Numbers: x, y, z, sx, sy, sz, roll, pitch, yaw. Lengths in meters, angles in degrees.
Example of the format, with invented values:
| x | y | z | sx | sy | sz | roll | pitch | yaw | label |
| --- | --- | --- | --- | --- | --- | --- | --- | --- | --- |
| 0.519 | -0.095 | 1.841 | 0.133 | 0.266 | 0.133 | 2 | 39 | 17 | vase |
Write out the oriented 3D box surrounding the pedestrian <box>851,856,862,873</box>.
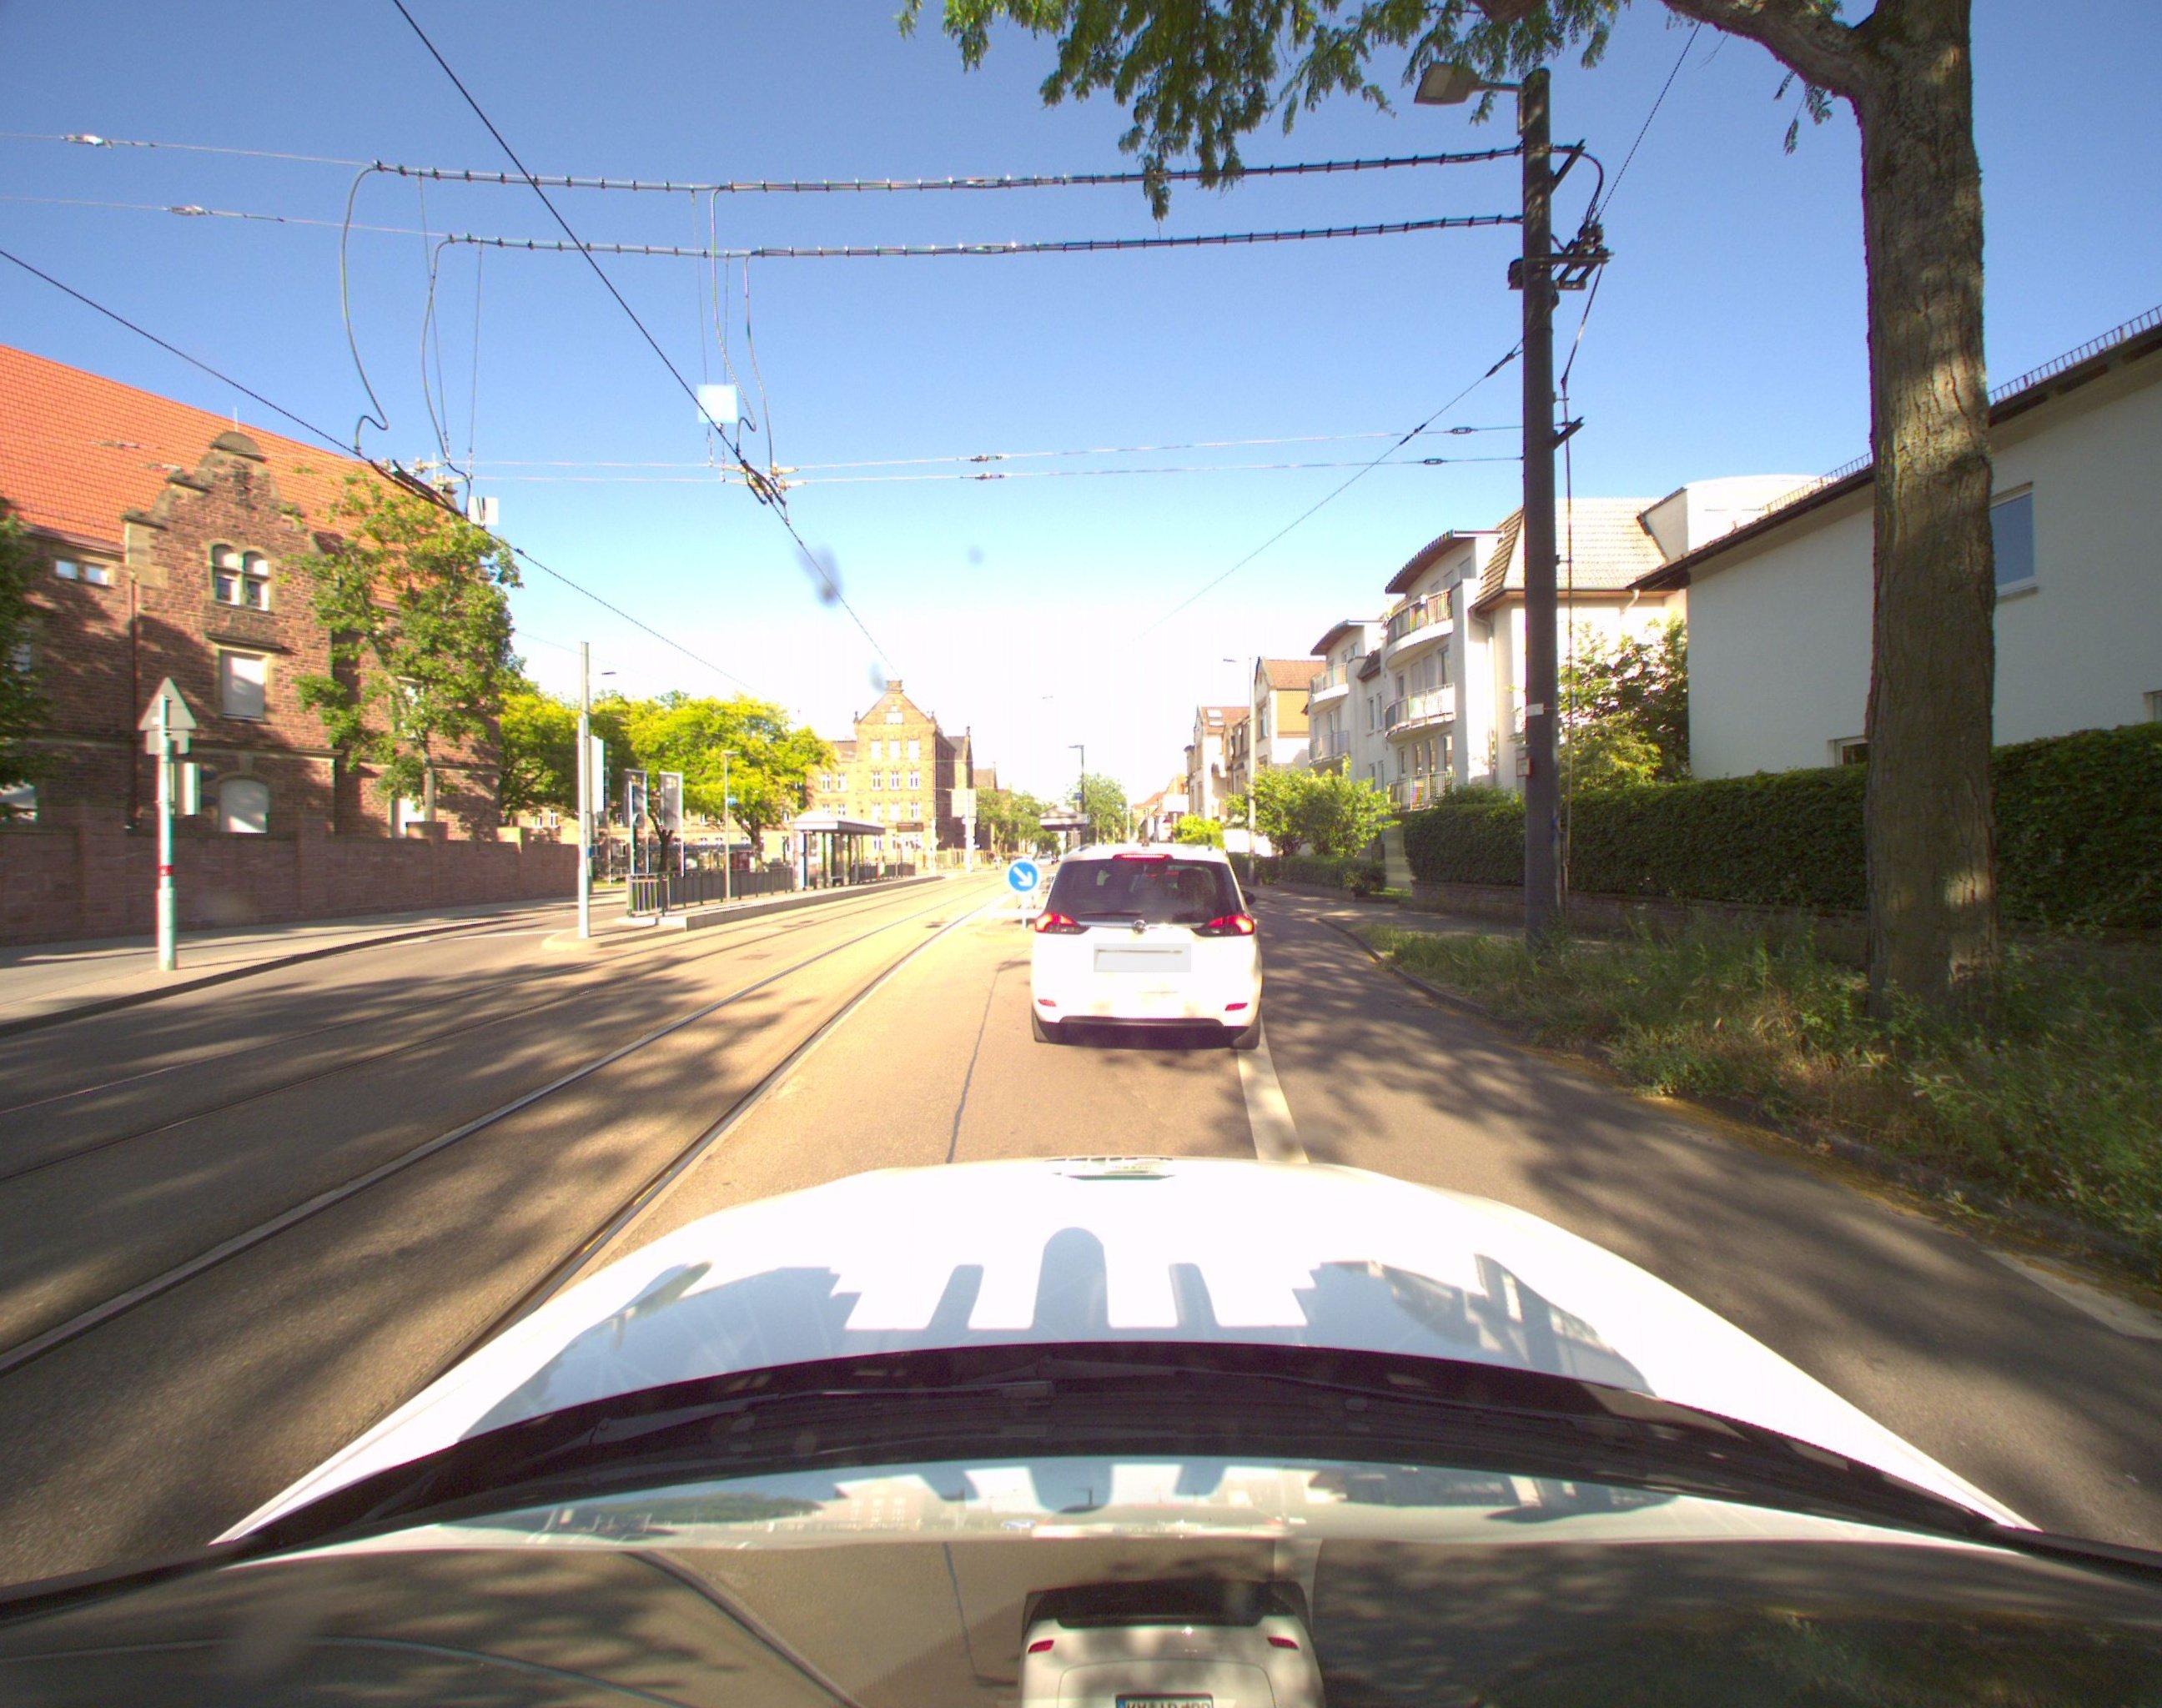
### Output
| x | y | z | sx | sy | sz | roll | pitch | yaw | label |
| --- | --- | --- | --- | --- | --- | --- | --- | --- | --- |
| -21.195 | 0.960 | 76.953 | 0.799 | 1.588 | 0.934 | 0 | -1 | -1 | pedestrian |

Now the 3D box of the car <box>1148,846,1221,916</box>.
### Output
| x | y | z | sx | sy | sz | roll | pitch | yaw | label |
| --- | --- | --- | --- | --- | --- | --- | --- | --- | --- |
| 2.571 | 0.633 | 20.893 | 1.630 | 1.601 | 3.859 | -1 | 0 | 4 | car |

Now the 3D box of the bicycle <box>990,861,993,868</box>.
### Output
| x | y | z | sx | sy | sz | roll | pitch | yaw | label |
| --- | --- | --- | --- | --- | --- | --- | --- | --- | --- |
| -12.692 | 1.524 | 115.634 | 0.343 | 0.950 | 0.996 | 0 | -1 | -1 | bicycle |

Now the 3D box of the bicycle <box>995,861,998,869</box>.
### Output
| x | y | z | sx | sy | sz | roll | pitch | yaw | label |
| --- | --- | --- | --- | --- | --- | --- | --- | --- | --- |
| -10.727 | 1.412 | 103.521 | 0.343 | 0.950 | 1.160 | 0 | -1 | -1 | bicycle |

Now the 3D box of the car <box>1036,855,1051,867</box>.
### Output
| x | y | z | sx | sy | sz | roll | pitch | yaw | label |
| --- | --- | --- | --- | --- | --- | --- | --- | --- | --- |
| -5.310 | 0.951 | 114.743 | 1.989 | 1.629 | 3.996 | -1 | 0 | -3 | car |

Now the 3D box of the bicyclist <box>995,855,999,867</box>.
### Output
| x | y | z | sx | sy | sz | roll | pitch | yaw | label |
| --- | --- | --- | --- | --- | --- | --- | --- | --- | --- |
| -10.992 | 0.976 | 107.022 | 0.443 | 1.553 | 0.495 | -1 | 0 | -2 | bicyclist |

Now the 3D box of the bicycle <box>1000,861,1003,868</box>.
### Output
| x | y | z | sx | sy | sz | roll | pitch | yaw | label |
| --- | --- | --- | --- | --- | --- | --- | --- | --- | --- |
| -10.675 | 1.461 | 109.606 | 0.343 | 0.950 | 0.996 | 0 | -1 | -1 | bicycle |

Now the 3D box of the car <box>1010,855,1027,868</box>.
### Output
| x | y | z | sx | sy | sz | roll | pitch | yaw | label |
| --- | --- | --- | --- | --- | --- | --- | --- | --- | --- |
| -8.205 | 0.922 | 107.478 | 1.989 | 1.629 | 3.996 | -1 | 0 | -3 | car |

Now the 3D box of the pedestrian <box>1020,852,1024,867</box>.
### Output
| x | y | z | sx | sy | sz | roll | pitch | yaw | label |
| --- | --- | --- | --- | --- | --- | --- | --- | --- | --- |
| -8.179 | 0.770 | 112.644 | 0.443 | 2.013 | 0.495 | -1 | 0 | -2 | pedestrian |

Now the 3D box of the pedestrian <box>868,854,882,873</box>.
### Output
| x | y | z | sx | sy | sz | roll | pitch | yaw | label |
| --- | --- | --- | --- | --- | --- | --- | --- | --- | --- |
| -18.405 | 0.859 | 72.751 | 0.892 | 1.684 | 1.029 | 0 | -1 | 1 | pedestrian |

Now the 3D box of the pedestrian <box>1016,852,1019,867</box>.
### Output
| x | y | z | sx | sy | sz | roll | pitch | yaw | label |
| --- | --- | --- | --- | --- | --- | --- | --- | --- | --- |
| -8.782 | 0.773 | 112.383 | 0.443 | 2.013 | 0.495 | -1 | 0 | -2 | pedestrian |

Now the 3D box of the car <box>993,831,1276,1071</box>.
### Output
| x | y | z | sx | sy | sz | roll | pitch | yaw | label |
| --- | --- | --- | --- | --- | --- | --- | --- | --- | --- |
| 0.643 | 0.678 | 7.703 | 1.982 | 1.644 | 4.003 | 0 | 0 | 8 | car |

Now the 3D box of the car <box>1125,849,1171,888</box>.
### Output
| x | y | z | sx | sy | sz | roll | pitch | yaw | label |
| --- | --- | --- | --- | --- | --- | --- | --- | --- | --- |
| 2.926 | 0.606 | 36.249 | 1.824 | 1.579 | 4.012 | -1 | 0 | 2 | car |

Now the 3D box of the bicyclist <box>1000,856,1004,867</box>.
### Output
| x | y | z | sx | sy | sz | roll | pitch | yaw | label |
| --- | --- | --- | --- | --- | --- | --- | --- | --- | --- |
| -10.675 | 0.994 | 109.601 | 0.443 | 1.553 | 0.495 | -1 | 0 | -2 | bicyclist |

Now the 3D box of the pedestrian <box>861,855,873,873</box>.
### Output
| x | y | z | sx | sy | sz | roll | pitch | yaw | label |
| --- | --- | --- | --- | --- | --- | --- | --- | --- | --- |
| -19.522 | 0.927 | 74.372 | 0.799 | 1.588 | 0.934 | 0 | -1 | -1 | pedestrian |

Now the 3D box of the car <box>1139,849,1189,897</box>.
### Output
| x | y | z | sx | sy | sz | roll | pitch | yaw | label |
| --- | --- | --- | --- | --- | --- | --- | --- | --- | --- |
| 2.940 | 0.630 | 29.319 | 1.630 | 1.601 | 3.859 | -1 | 0 | 4 | car |

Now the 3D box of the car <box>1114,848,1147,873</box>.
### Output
| x | y | z | sx | sy | sz | roll | pitch | yaw | label |
| --- | --- | --- | --- | --- | --- | --- | --- | --- | --- |
| 3.095 | 0.381 | 51.843 | 1.986 | 1.503 | 4.002 | -1 | 0 | 2 | car |

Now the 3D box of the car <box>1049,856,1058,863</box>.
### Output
| x | y | z | sx | sy | sz | roll | pitch | yaw | label |
| --- | --- | --- | --- | --- | --- | --- | --- | --- | --- |
| -6.160 | 1.231 | 184.961 | 1.989 | 1.629 | 3.984 | -1 | 0 | -3 | car |

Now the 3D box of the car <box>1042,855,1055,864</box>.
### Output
| x | y | z | sx | sy | sz | roll | pitch | yaw | label |
| --- | --- | --- | --- | --- | --- | --- | --- | --- | --- |
| -5.508 | 0.926 | 139.343 | 1.987 | 1.629 | 4.000 | -1 | 0 | 0 | car |

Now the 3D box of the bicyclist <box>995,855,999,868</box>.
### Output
| x | y | z | sx | sy | sz | roll | pitch | yaw | label |
| --- | --- | --- | --- | --- | --- | --- | --- | --- | --- |
| -10.720 | 0.946 | 103.731 | 0.443 | 1.553 | 0.742 | -1 | 0 | -2 | bicyclist |

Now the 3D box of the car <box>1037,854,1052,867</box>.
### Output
| x | y | z | sx | sy | sz | roll | pitch | yaw | label |
| --- | --- | --- | --- | --- | --- | --- | --- | --- | --- |
| -4.828 | 0.890 | 107.620 | 1.989 | 1.629 | 3.996 | -1 | 0 | -3 | car |

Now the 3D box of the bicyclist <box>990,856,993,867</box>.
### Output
| x | y | z | sx | sy | sz | roll | pitch | yaw | label |
| --- | --- | --- | --- | --- | --- | --- | --- | --- | --- |
| -12.698 | 1.057 | 115.599 | 0.443 | 1.553 | 0.495 | -1 | 0 | -2 | bicyclist |

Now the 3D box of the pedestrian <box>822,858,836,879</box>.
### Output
| x | y | z | sx | sy | sz | roll | pitch | yaw | label |
| --- | --- | --- | --- | --- | --- | --- | --- | --- | --- |
| -20.966 | 1.183 | 67.683 | 0.839 | 1.691 | 1.029 | 0 | -1 | 1 | pedestrian |

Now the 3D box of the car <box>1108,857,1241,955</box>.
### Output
| x | y | z | sx | sy | sz | roll | pitch | yaw | label |
| --- | --- | --- | --- | --- | --- | --- | --- | --- | --- |
| 1.530 | 0.786 | 14.065 | 1.944 | 1.397 | 4.005 | -1 | 0 | 4 | car |

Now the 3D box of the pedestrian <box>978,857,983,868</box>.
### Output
| x | y | z | sx | sy | sz | roll | pitch | yaw | label |
| --- | --- | --- | --- | --- | --- | --- | --- | --- | --- |
| -15.276 | 1.278 | 123.864 | 0.733 | 1.714 | 0.753 | 0 | -1 | -4 | pedestrian |

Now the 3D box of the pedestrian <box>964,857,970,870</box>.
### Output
| x | y | z | sx | sy | sz | roll | pitch | yaw | label |
| --- | --- | --- | --- | --- | --- | --- | --- | --- | --- |
| -15.178 | 1.290 | 108.293 | 0.733 | 1.714 | 0.705 | 0 | -1 | -4 | pedestrian |
